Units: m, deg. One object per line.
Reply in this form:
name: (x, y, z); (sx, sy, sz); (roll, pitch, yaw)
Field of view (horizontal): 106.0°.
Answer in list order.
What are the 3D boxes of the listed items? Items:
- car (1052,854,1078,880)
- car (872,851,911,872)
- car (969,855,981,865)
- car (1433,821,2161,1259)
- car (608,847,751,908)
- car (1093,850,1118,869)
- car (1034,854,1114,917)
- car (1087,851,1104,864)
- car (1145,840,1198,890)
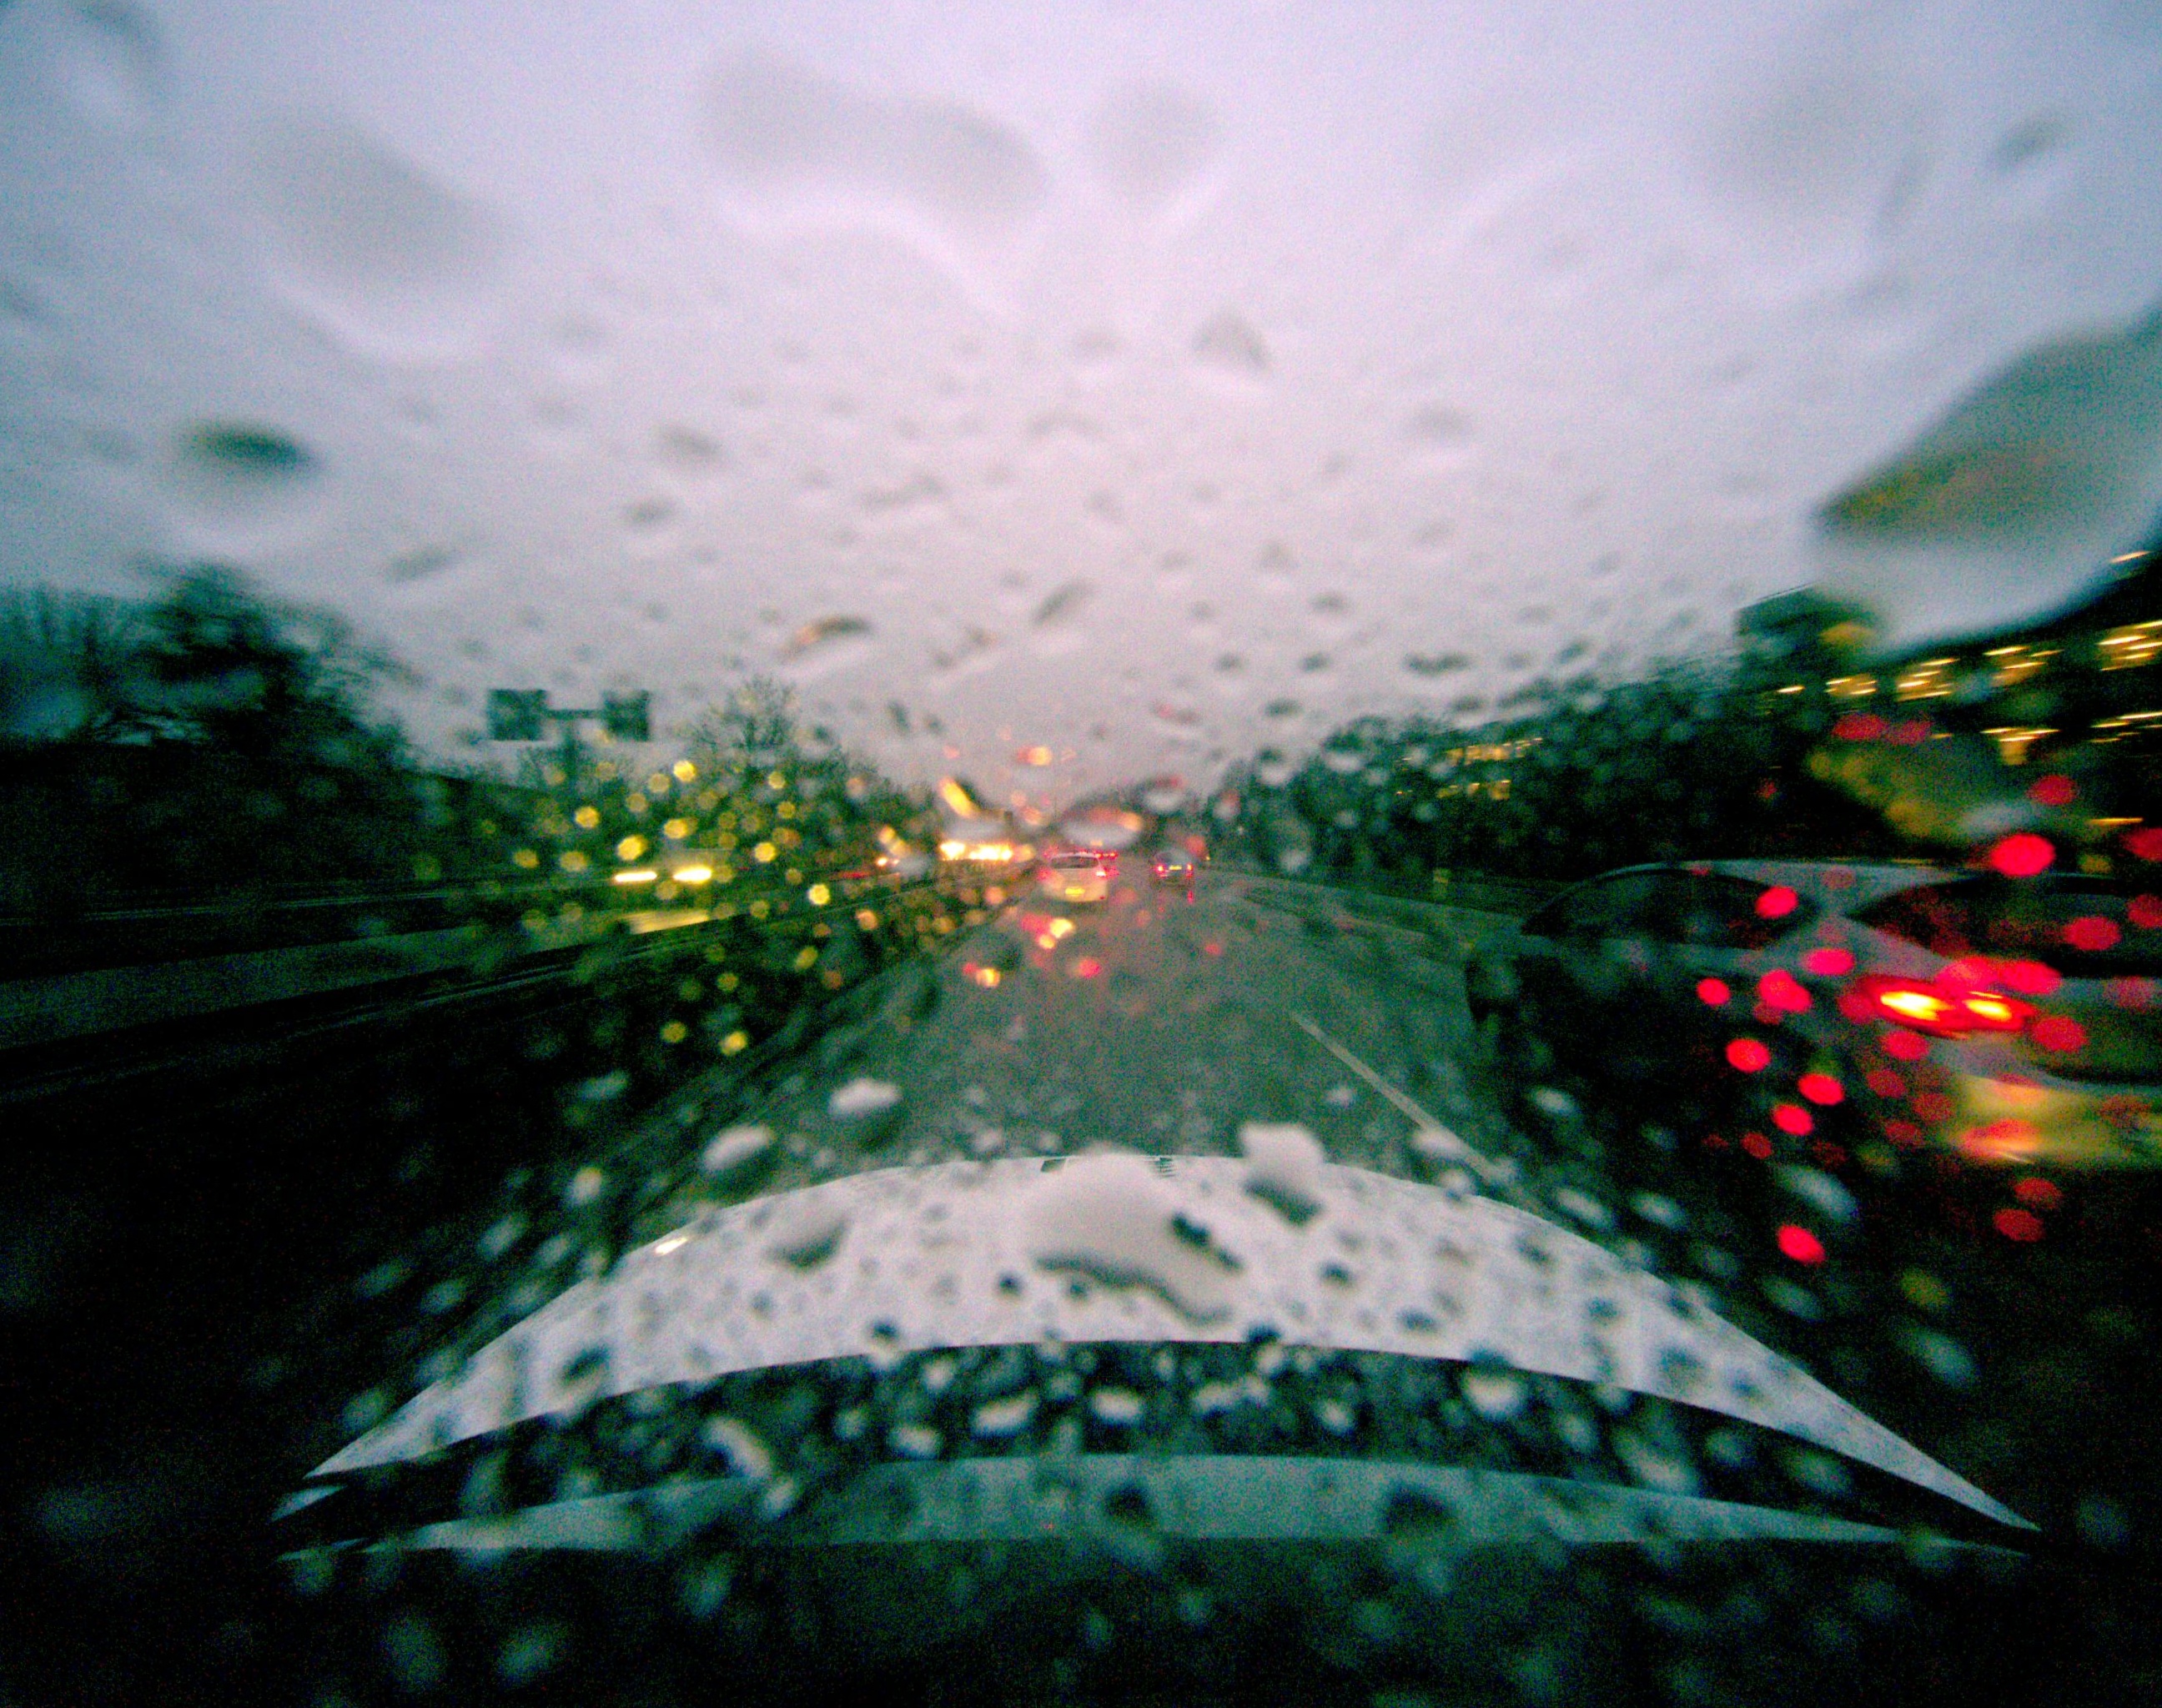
car: (-1.324, 0.990, 65.750); (1.989, 2.013, 3.995); (0, 0, -3)
car: (-17.943, 0.697, 77.383); (1.982, 1.913, 4.457); (0, 0, 9)
car: (-17.508, 0.921, 134.760); (1.700, 1.566, 4.845); (0, 0, -3)
car: (3.970, 0.628, 4.942); (1.843, 1.501, 4.262); (0, 0, 0)
car: (-11.163, 0.592, 23.017); (1.831, 1.556, 4.355); (0, 0, 0)
car: (2.329, 0.537, 78.231); (1.928, 1.546, 3.770); (-6, 0, -3)
car: (-0.109, 0.809, 22.677); (2.017, 1.574, 4.001); (0, 0, 1)
car: (1.729, 0.455, 100.666); (1.927, 1.546, 3.771); (0, 0, -2)
car: (3.847, 0.434, 35.301); (1.926, 2.019, 3.774); (0, 0, 1)
